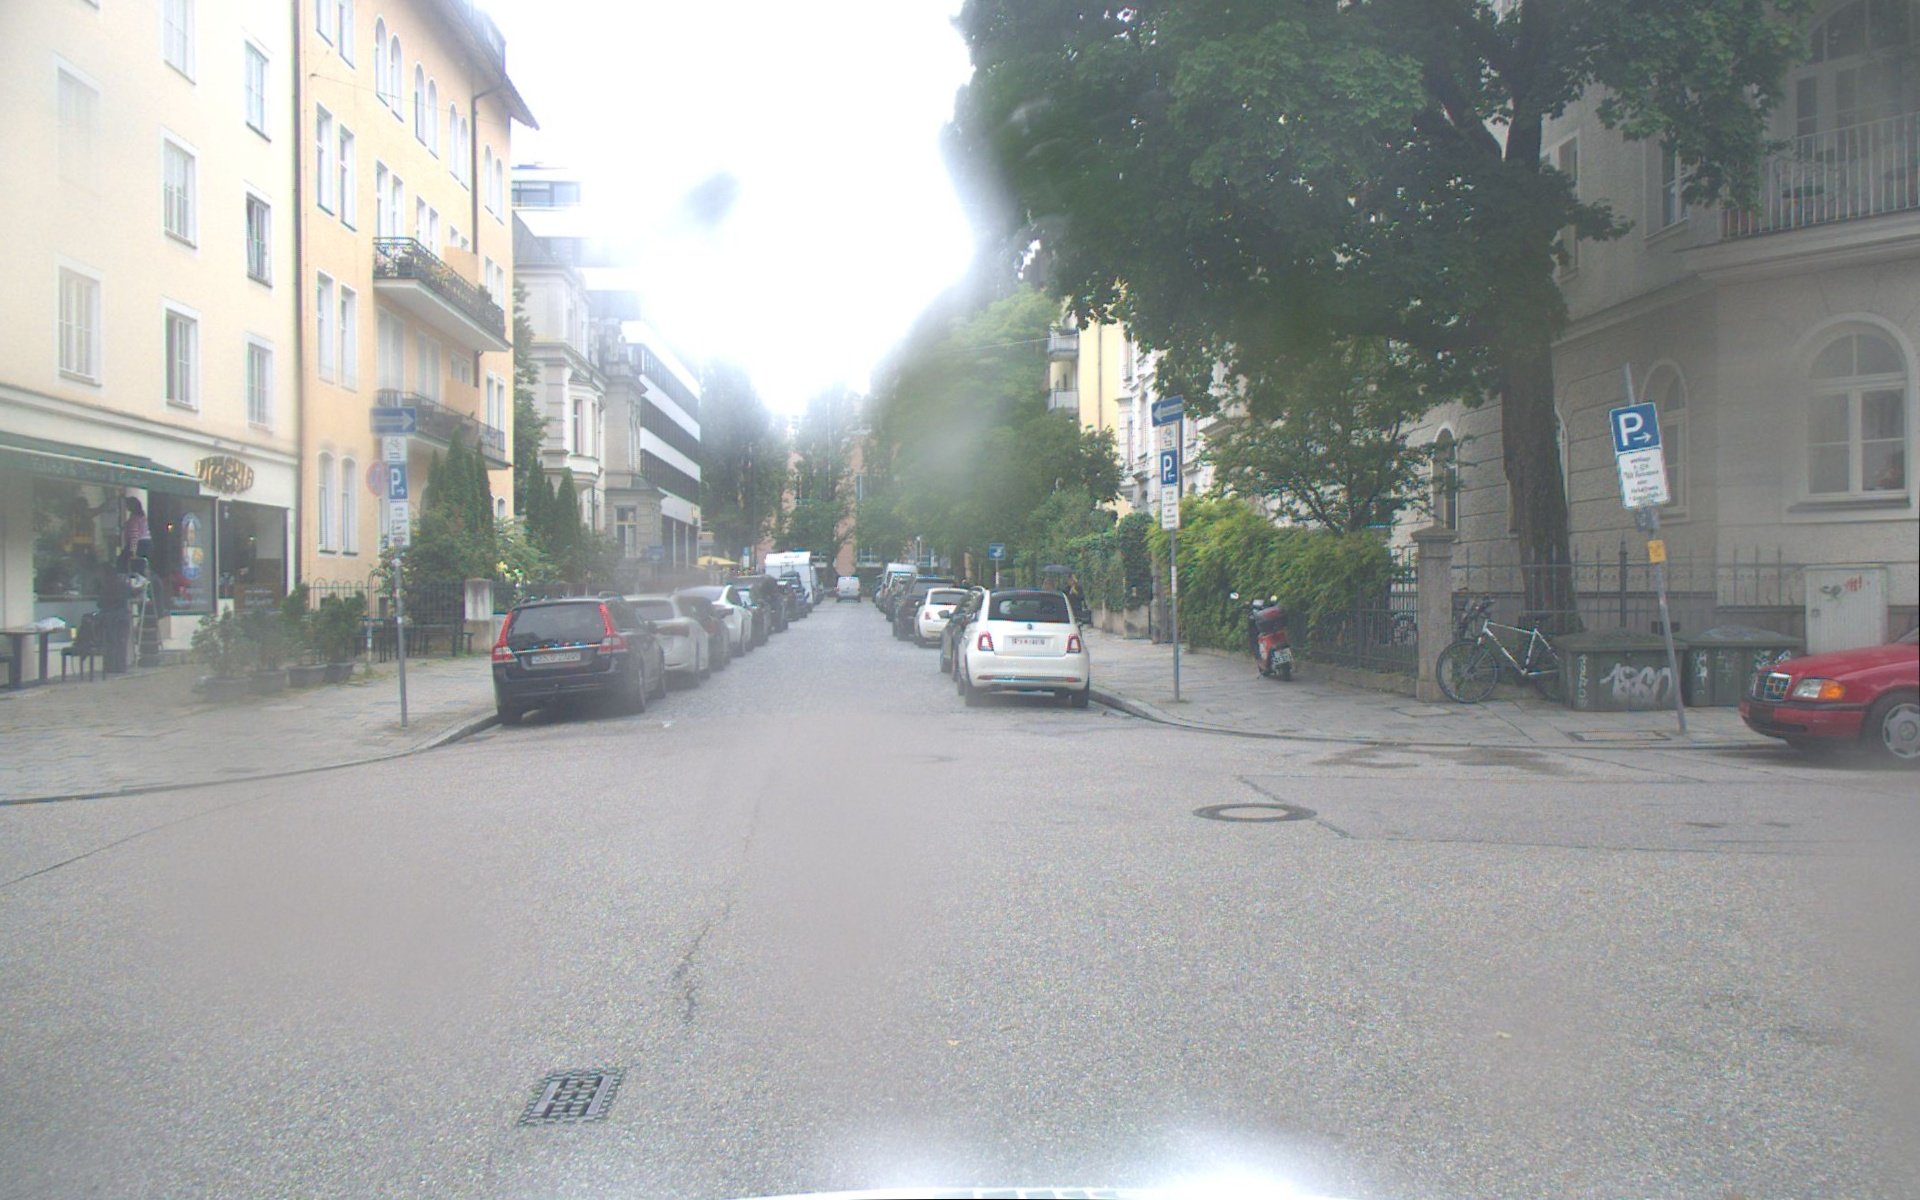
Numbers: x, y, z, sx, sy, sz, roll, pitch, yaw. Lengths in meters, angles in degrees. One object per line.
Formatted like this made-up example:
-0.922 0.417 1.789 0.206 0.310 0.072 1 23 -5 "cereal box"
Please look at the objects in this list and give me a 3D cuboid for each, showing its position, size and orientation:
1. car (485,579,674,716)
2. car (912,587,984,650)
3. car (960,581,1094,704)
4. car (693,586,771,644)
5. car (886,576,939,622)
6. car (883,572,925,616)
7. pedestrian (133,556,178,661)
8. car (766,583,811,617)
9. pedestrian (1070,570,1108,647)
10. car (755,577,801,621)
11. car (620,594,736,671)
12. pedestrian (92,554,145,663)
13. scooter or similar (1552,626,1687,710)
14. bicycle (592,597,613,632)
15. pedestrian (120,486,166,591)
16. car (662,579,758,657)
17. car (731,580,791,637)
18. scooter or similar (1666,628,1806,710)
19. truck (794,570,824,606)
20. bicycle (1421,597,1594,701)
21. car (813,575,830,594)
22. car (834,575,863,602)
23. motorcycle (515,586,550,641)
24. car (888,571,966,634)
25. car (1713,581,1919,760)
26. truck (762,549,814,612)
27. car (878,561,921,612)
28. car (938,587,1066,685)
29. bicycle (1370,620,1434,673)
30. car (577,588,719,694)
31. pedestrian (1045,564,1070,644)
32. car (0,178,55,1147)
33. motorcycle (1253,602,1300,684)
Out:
-4.943 0.570 22.107 1.816 1.614 4.743 1 0 -5 "car"
-0.357 0.461 42.834 1.598 1.495 3.656 3 0 -4 "car"
0.834 0.523 22.371 1.472 1.497 3.793 -1 0 -3 "car"
-6.078 0.391 44.457 1.738 1.454 4.387 1 0 -4 "car"
-2.007 -0.032 68.455 1.924 1.789 4.949 1 0 -4 "car"
-2.809 -0.284 81.463 1.765 1.983 4.856 3 0 -4 "car"
-13.268 0.140 27.283 0.452 1.720 0.574 1 0 -4 "pedestrian"
-7.670 -0.003 74.203 1.902 1.485 4.054 1 0 -5 "car"
3.098 0.205 39.726 0.622 1.840 0.652 1 0 -34 "pedestrian"
-7.551 -0.045 68.834 1.739 1.748 4.387 1 0 -5 "car"
-5.398 0.591 32.130 1.738 1.383 4.387 1 0 -4 "car"
-13.118 0.138 25.790 0.511 1.671 0.629 1 0 -4 "pedestrian"
7.186 0.726 18.072 1.158 0.863 0.925 1 0 6 "scooter or similar"
-10.701 0.419 49.501 0.345 1.020 1.572 1 0 -2 "bicycle"
-13.153 -0.986 26.630 0.467 1.671 0.497 1 0 0 "pedestrian"
-5.717 0.394 38.300 1.738 1.676 4.388 1 0 -3 "car"
-6.061 0.259 50.682 1.548 1.617 4.053 -2 0 -3 "car"
8.429 0.741 18.009 1.211 0.840 0.697 1 0 6 "scooter or similar"
-10.408 -0.812 114.293 1.954 2.388 4.065 1 0 -4 "truck"
6.255 0.554 18.950 1.799 1.144 0.563 1 0 6 "bicycle"
-11.757 -1.277 140.179 1.251 1.568 3.118 1 0 -2 "car"
-8.146 -0.830 121.031 1.956 1.970 3.998 1 0 -2 "car"
-9.719 0.292 37.662 0.481 1.215 1.578 1 0 -4 "motorcycle"
-1.012 0.080 48.100 1.838 1.702 5.484 1 0 -5 "car"
8.758 0.538 13.548 4.373 1.381 1.761 0 0 4 "car"
-8.867 -1.030 85.765 2.459 3.084 6.378 -1 1 -5 "truck"
-3.231 -0.755 87.100 1.858 2.468 5.606 4 1 -5 "car"
0.636 0.567 28.372 1.616 1.446 4.627 4 0 -5 "car"
7.353 0.760 27.609 0.481 0.826 2.273 1 0 0 "bicycle"
-5.000 0.615 27.050 1.738 1.563 4.537 -1 0 -4 "car"
2.348 0.096 39.684 0.563 1.882 0.682 1 0 4 "pedestrian"
-3.483 0.180 1.776 1.937 2.619 5.792 -1 0 -2 "car"
4.446 0.591 23.254 0.355 1.109 1.403 1 0 -1 "motorcycle"
